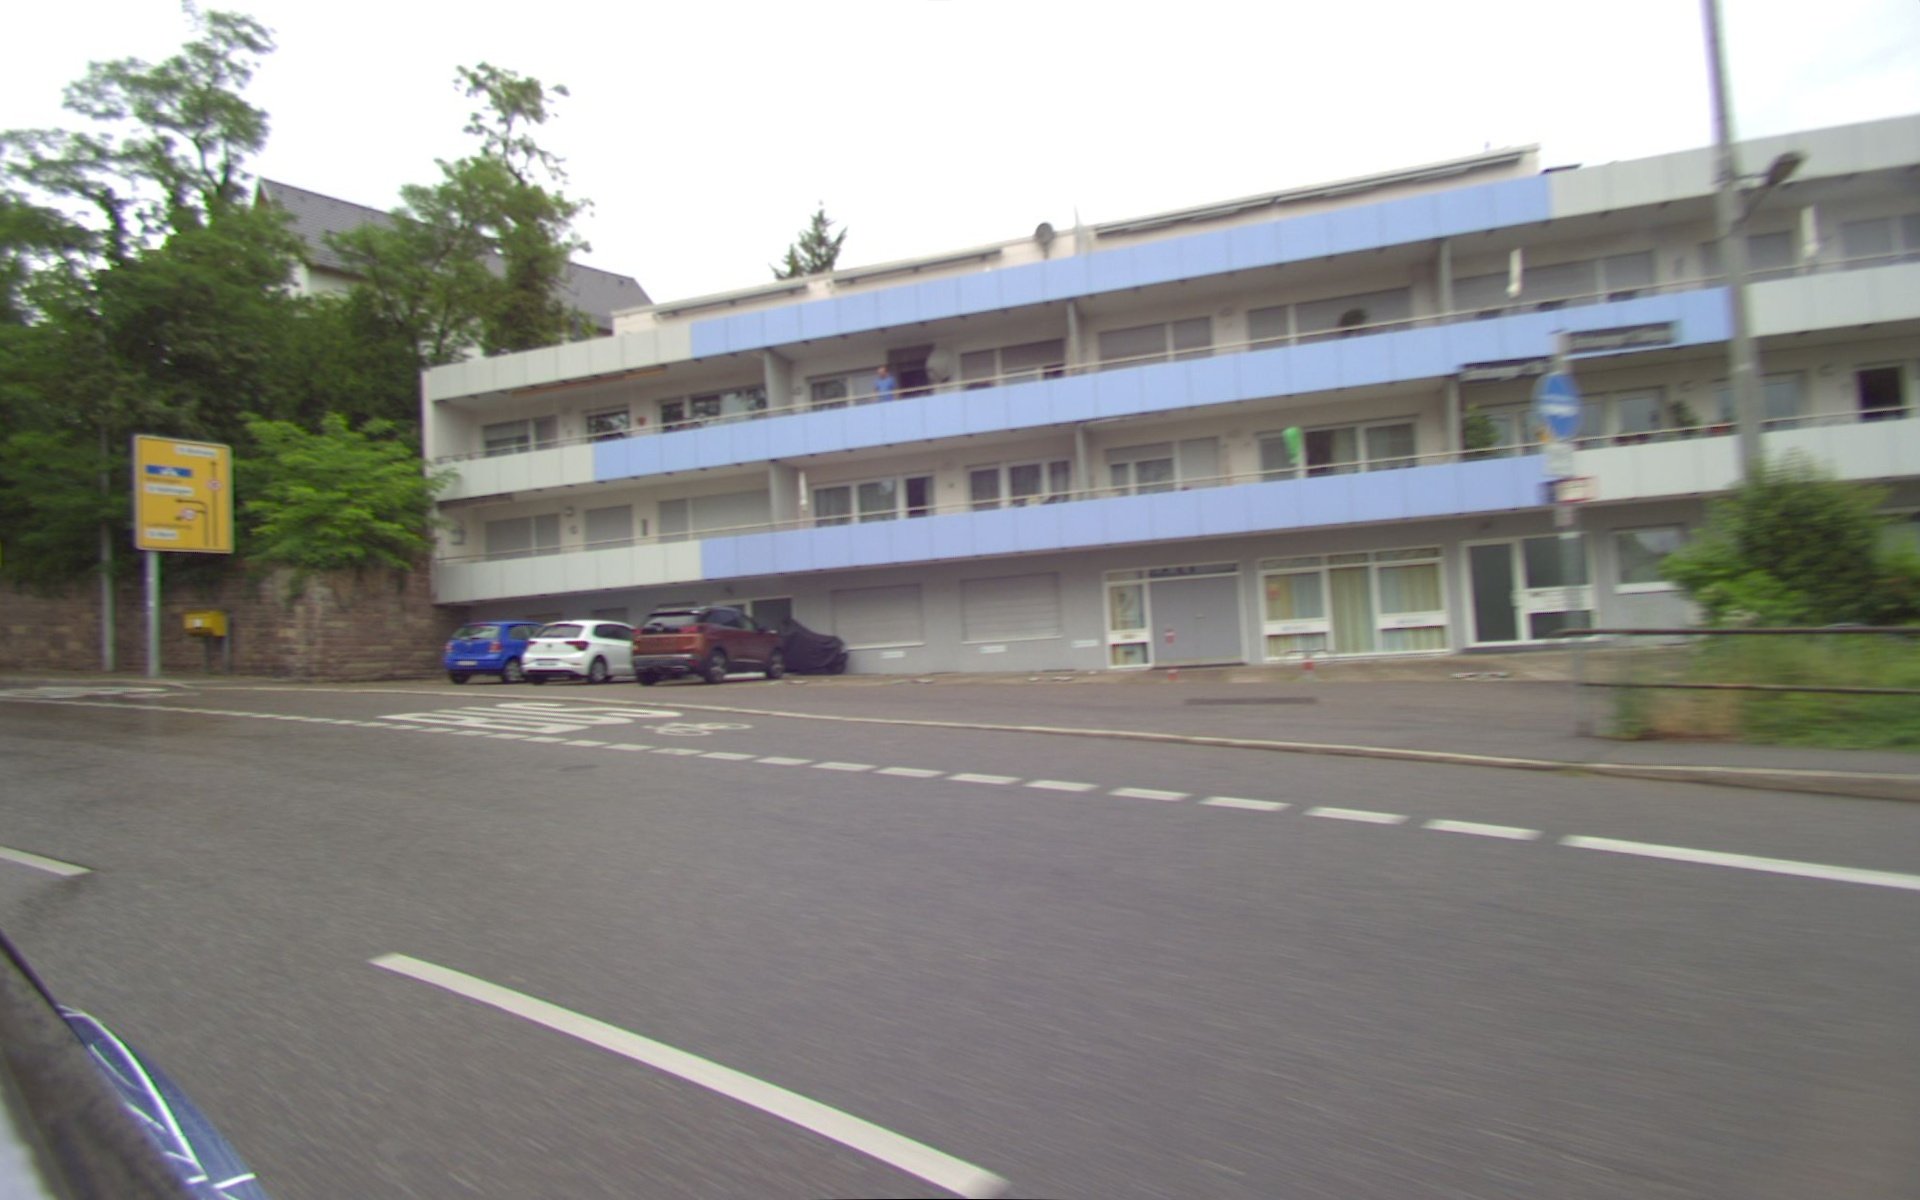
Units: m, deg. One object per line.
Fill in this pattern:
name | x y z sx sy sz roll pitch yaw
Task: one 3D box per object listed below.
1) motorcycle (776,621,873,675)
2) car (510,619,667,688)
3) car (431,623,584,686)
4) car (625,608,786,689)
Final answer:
motorcycle | -3.330 1.177 24.957 2.304 1.320 0.573 0 0 2
car | -8.483 1.247 23.383 1.693 1.456 3.421 -2 -4 17
car | -10.799 1.309 24.396 1.621 1.401 3.427 0 -3 13
car | -5.340 1.038 21.732 1.700 1.562 3.916 -1 -3 15
